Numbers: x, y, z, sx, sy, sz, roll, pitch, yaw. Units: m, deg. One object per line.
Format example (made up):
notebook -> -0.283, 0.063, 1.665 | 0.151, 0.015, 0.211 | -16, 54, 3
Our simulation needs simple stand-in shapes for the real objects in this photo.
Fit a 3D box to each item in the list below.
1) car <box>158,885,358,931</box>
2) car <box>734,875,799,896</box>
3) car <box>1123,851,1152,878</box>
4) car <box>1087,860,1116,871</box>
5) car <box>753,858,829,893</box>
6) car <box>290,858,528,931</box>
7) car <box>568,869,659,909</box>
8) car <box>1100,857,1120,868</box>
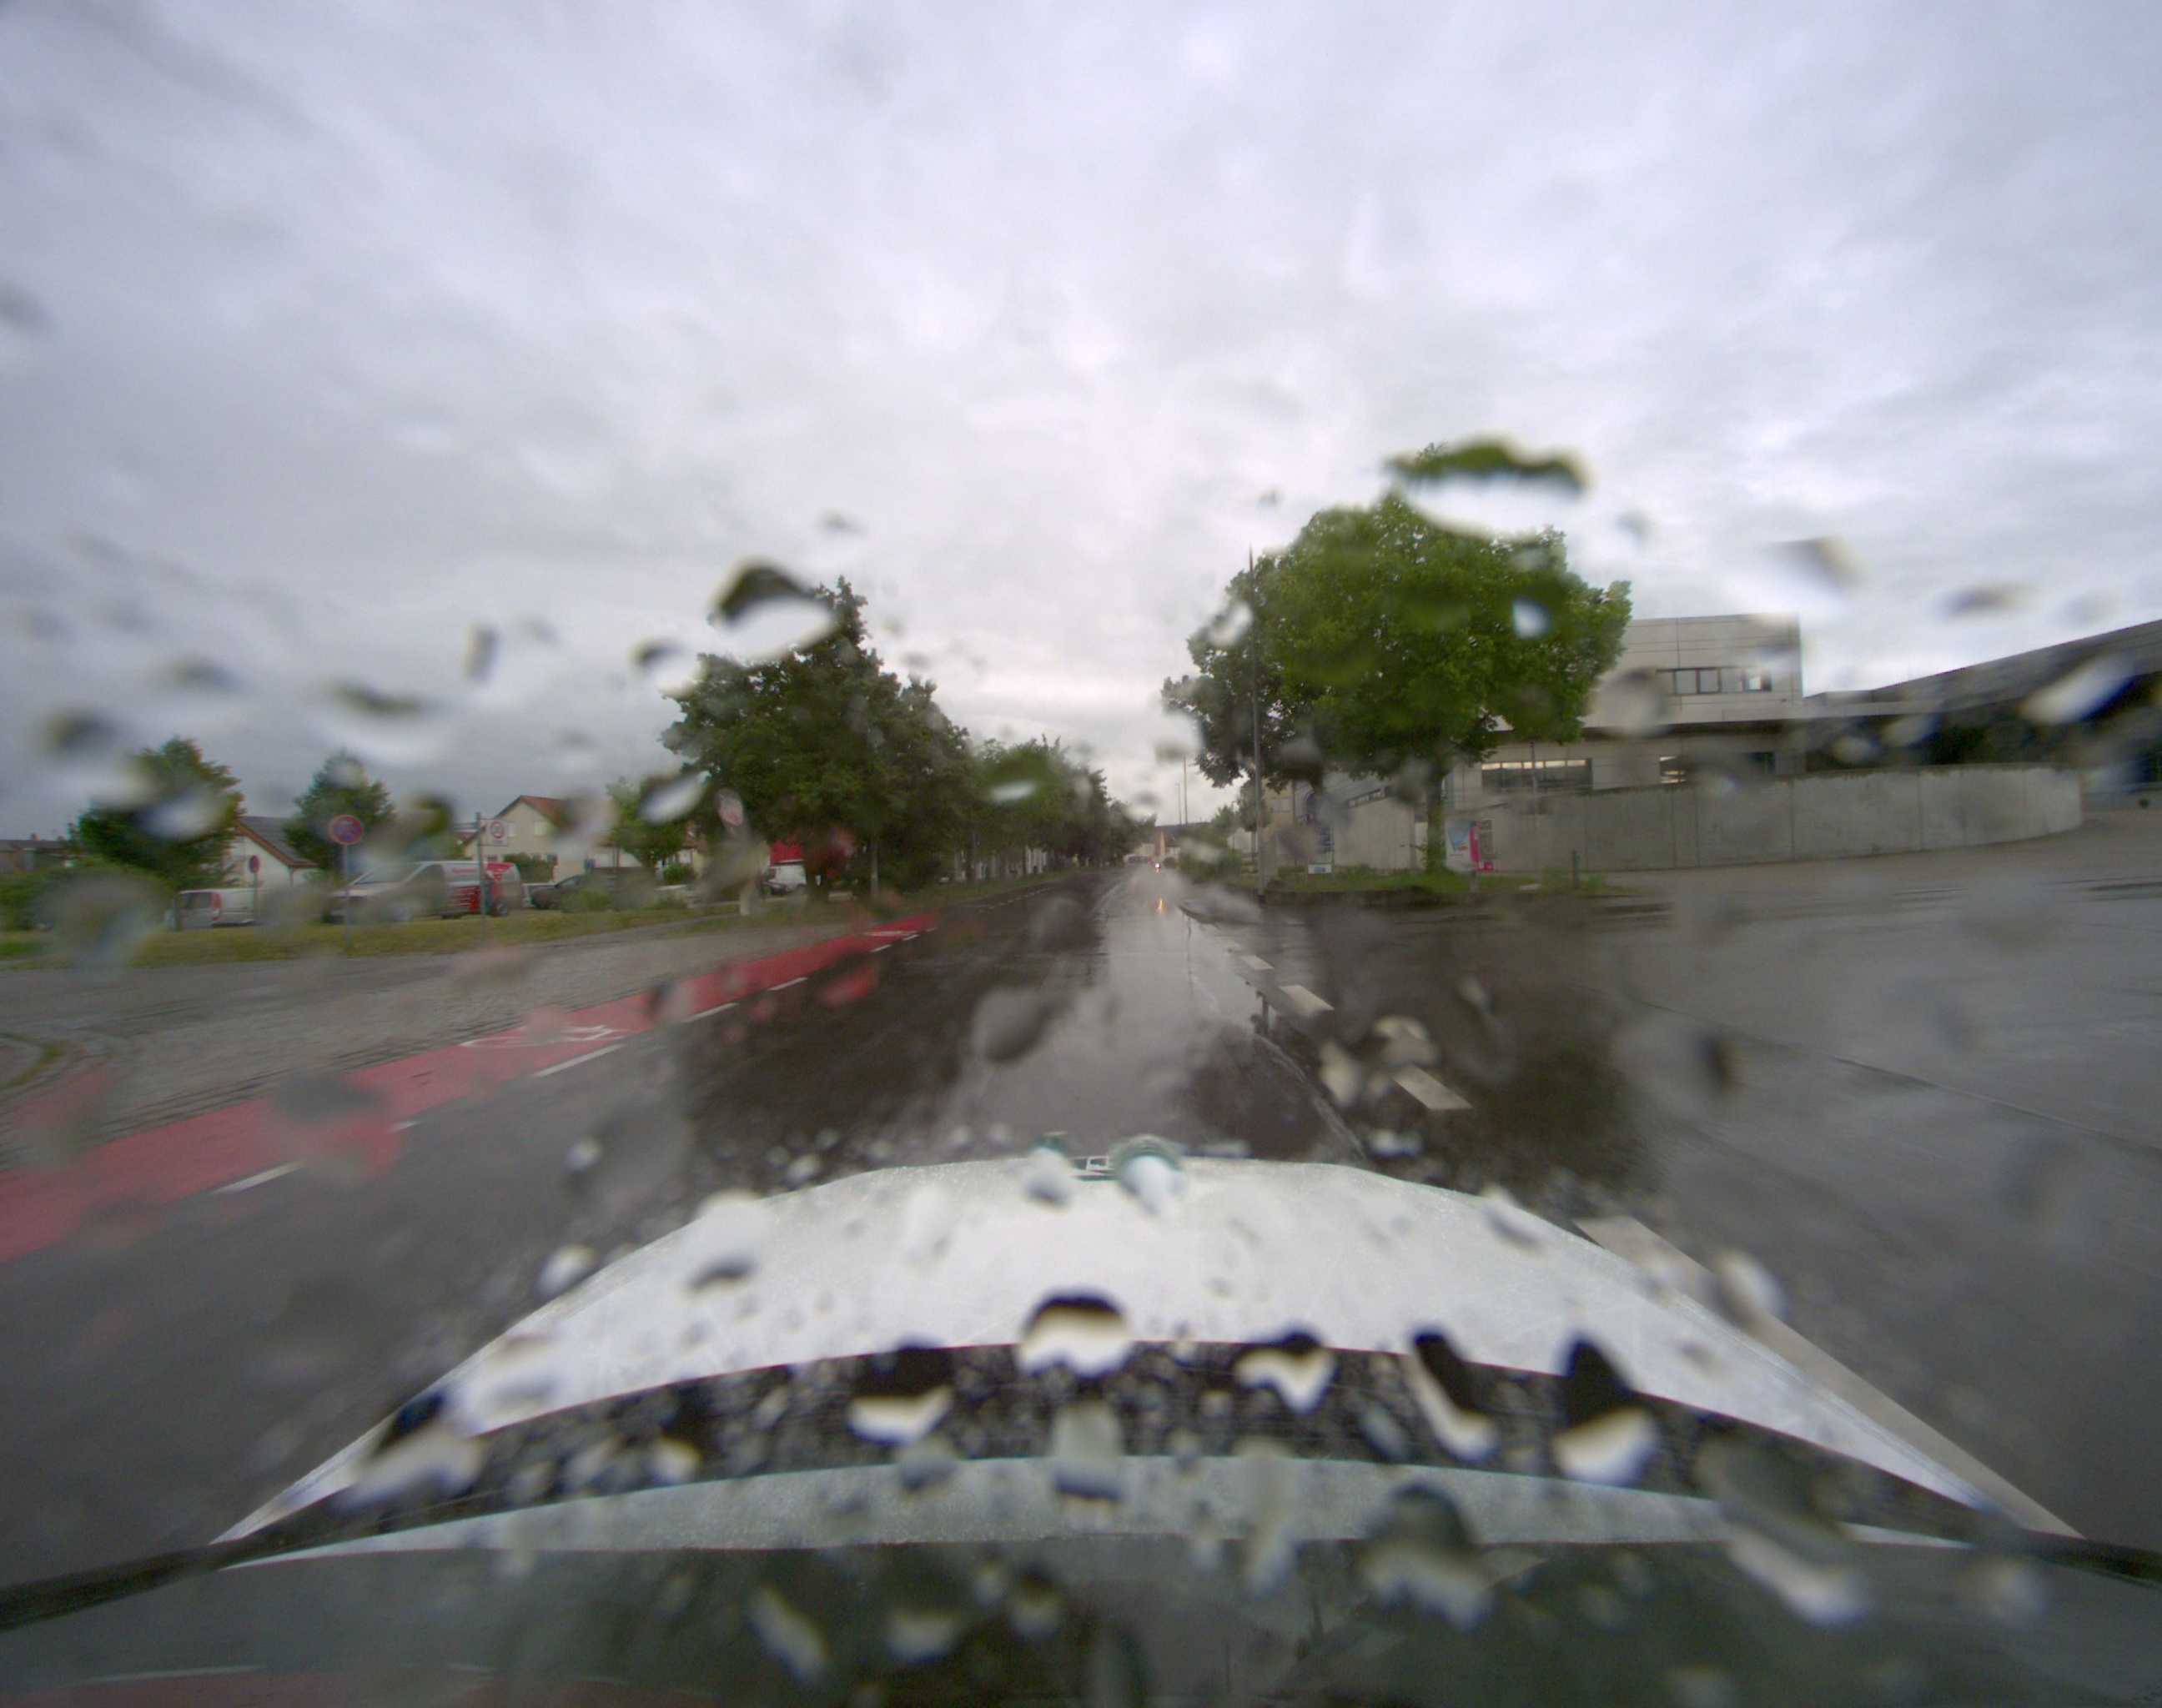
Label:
car -> -28.237, 1.803, 28.223 | 1.972, 1.230, 4.663 | -1, 0, 4
car -> -19.893, 1.989, 51.540 | 3.388, 1.244, 1.705 | -1, 0, 1
car -> 4.328, 0.757, 62.110 | 2.108, 1.888, 4.507 | -1, 0, 4
car -> 2.862, 1.594, 114.881 | 3.878, 1.284, 1.585 | -3, -2, 7
car -> -20.105, 1.483, 56.565 | 4.453, 2.310, 2.189 | -1, 0, 7
car -> -19.569, 1.076, 24.196 | 2.023, 1.822, 5.618 | -1, 0, 6
car -> -21.392, 1.556, 37.460 | 2.112, 1.556, 4.158 | -1, 0, -6
car -> 4.391, 1.284, 123.307 | 2.892, 1.455, 1.255 | -3, -4, 7
